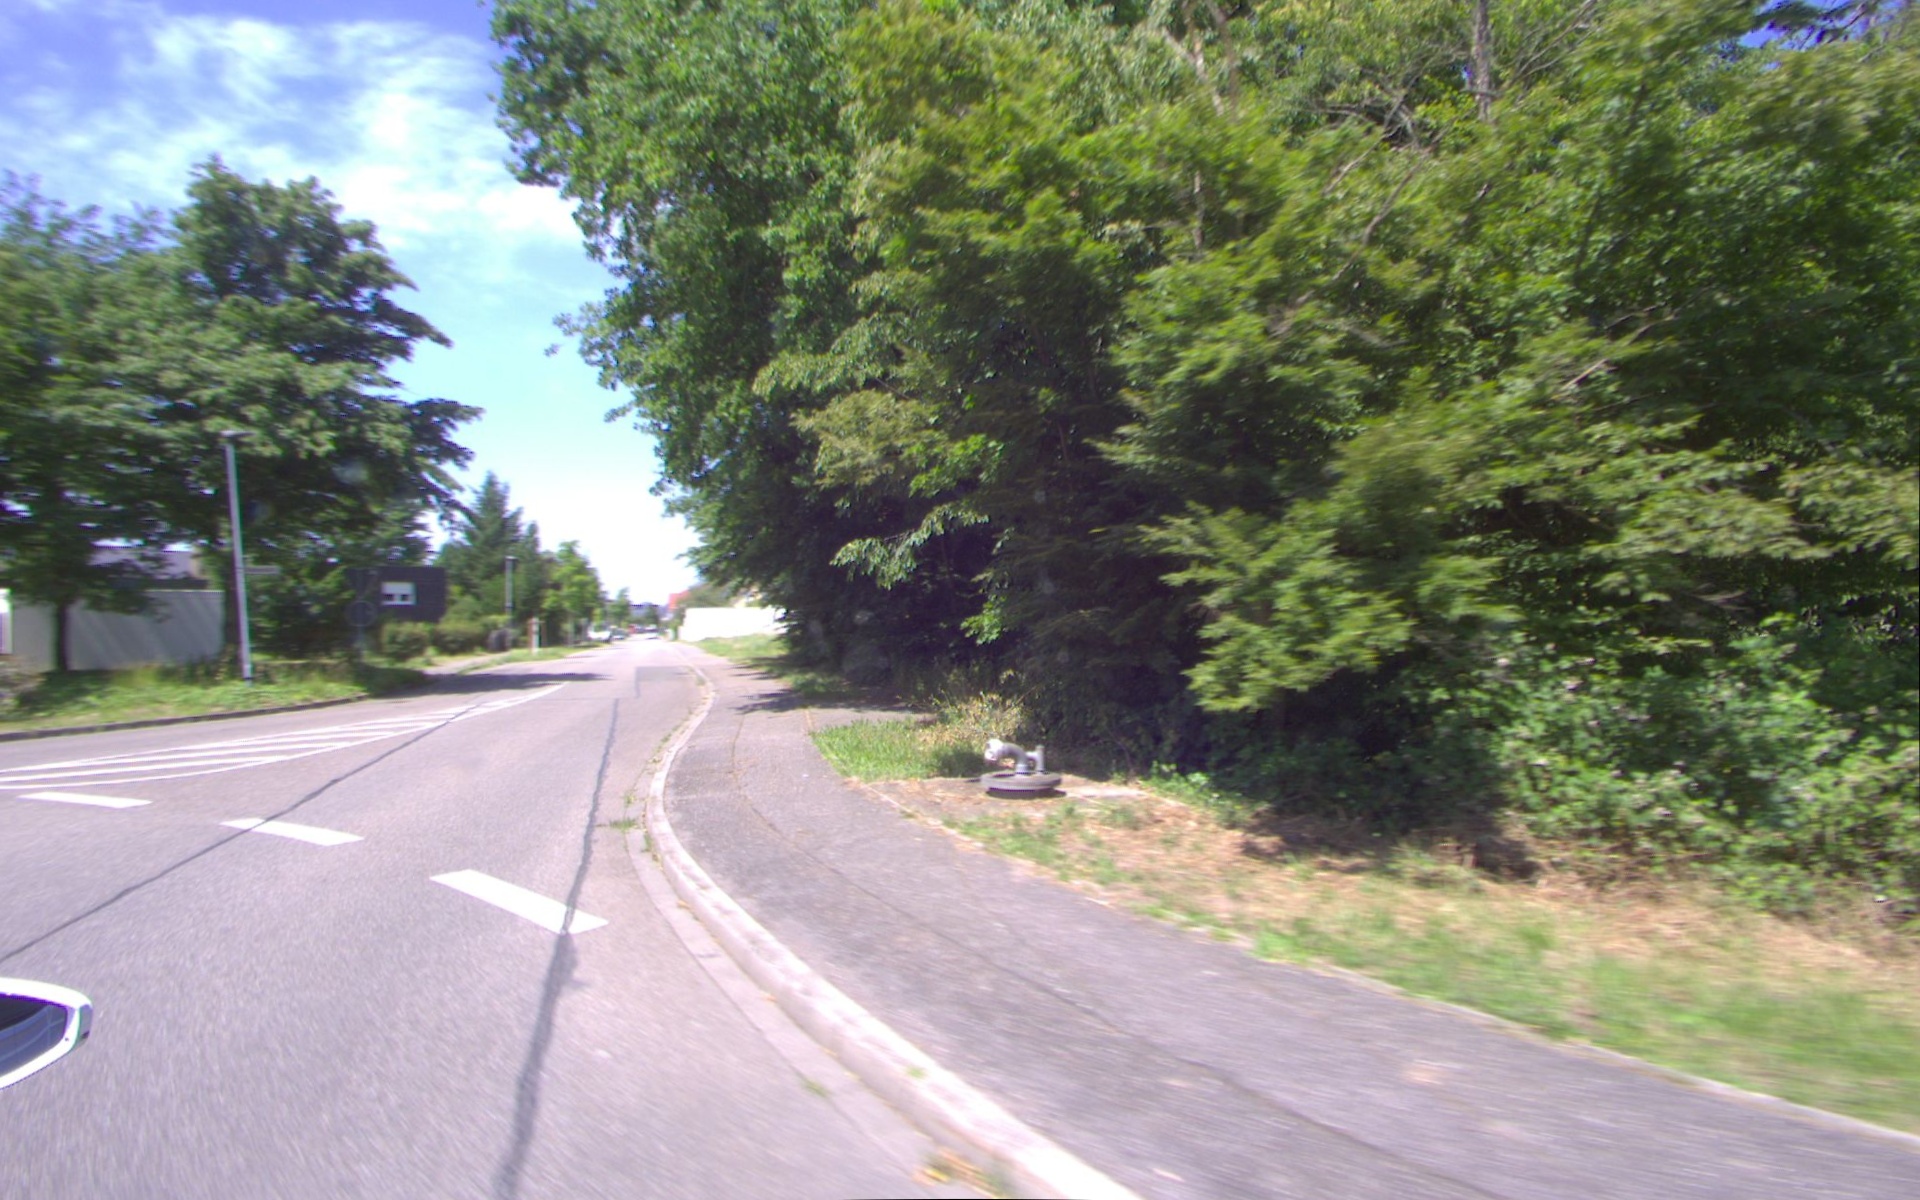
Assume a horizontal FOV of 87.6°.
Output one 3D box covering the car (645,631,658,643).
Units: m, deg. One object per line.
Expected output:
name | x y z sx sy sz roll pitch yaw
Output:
car | -46.266 5.567 149.916 1.810 1.681 3.995 -1 -3 -18

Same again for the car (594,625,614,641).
car | -36.666 3.414 103.067 1.730 1.498 3.786 -1 -3 -23

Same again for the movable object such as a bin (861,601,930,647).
movable object such as a bin | -3.467 1.252 52.818 2.479 2.306 5.230 0 -1 -18
